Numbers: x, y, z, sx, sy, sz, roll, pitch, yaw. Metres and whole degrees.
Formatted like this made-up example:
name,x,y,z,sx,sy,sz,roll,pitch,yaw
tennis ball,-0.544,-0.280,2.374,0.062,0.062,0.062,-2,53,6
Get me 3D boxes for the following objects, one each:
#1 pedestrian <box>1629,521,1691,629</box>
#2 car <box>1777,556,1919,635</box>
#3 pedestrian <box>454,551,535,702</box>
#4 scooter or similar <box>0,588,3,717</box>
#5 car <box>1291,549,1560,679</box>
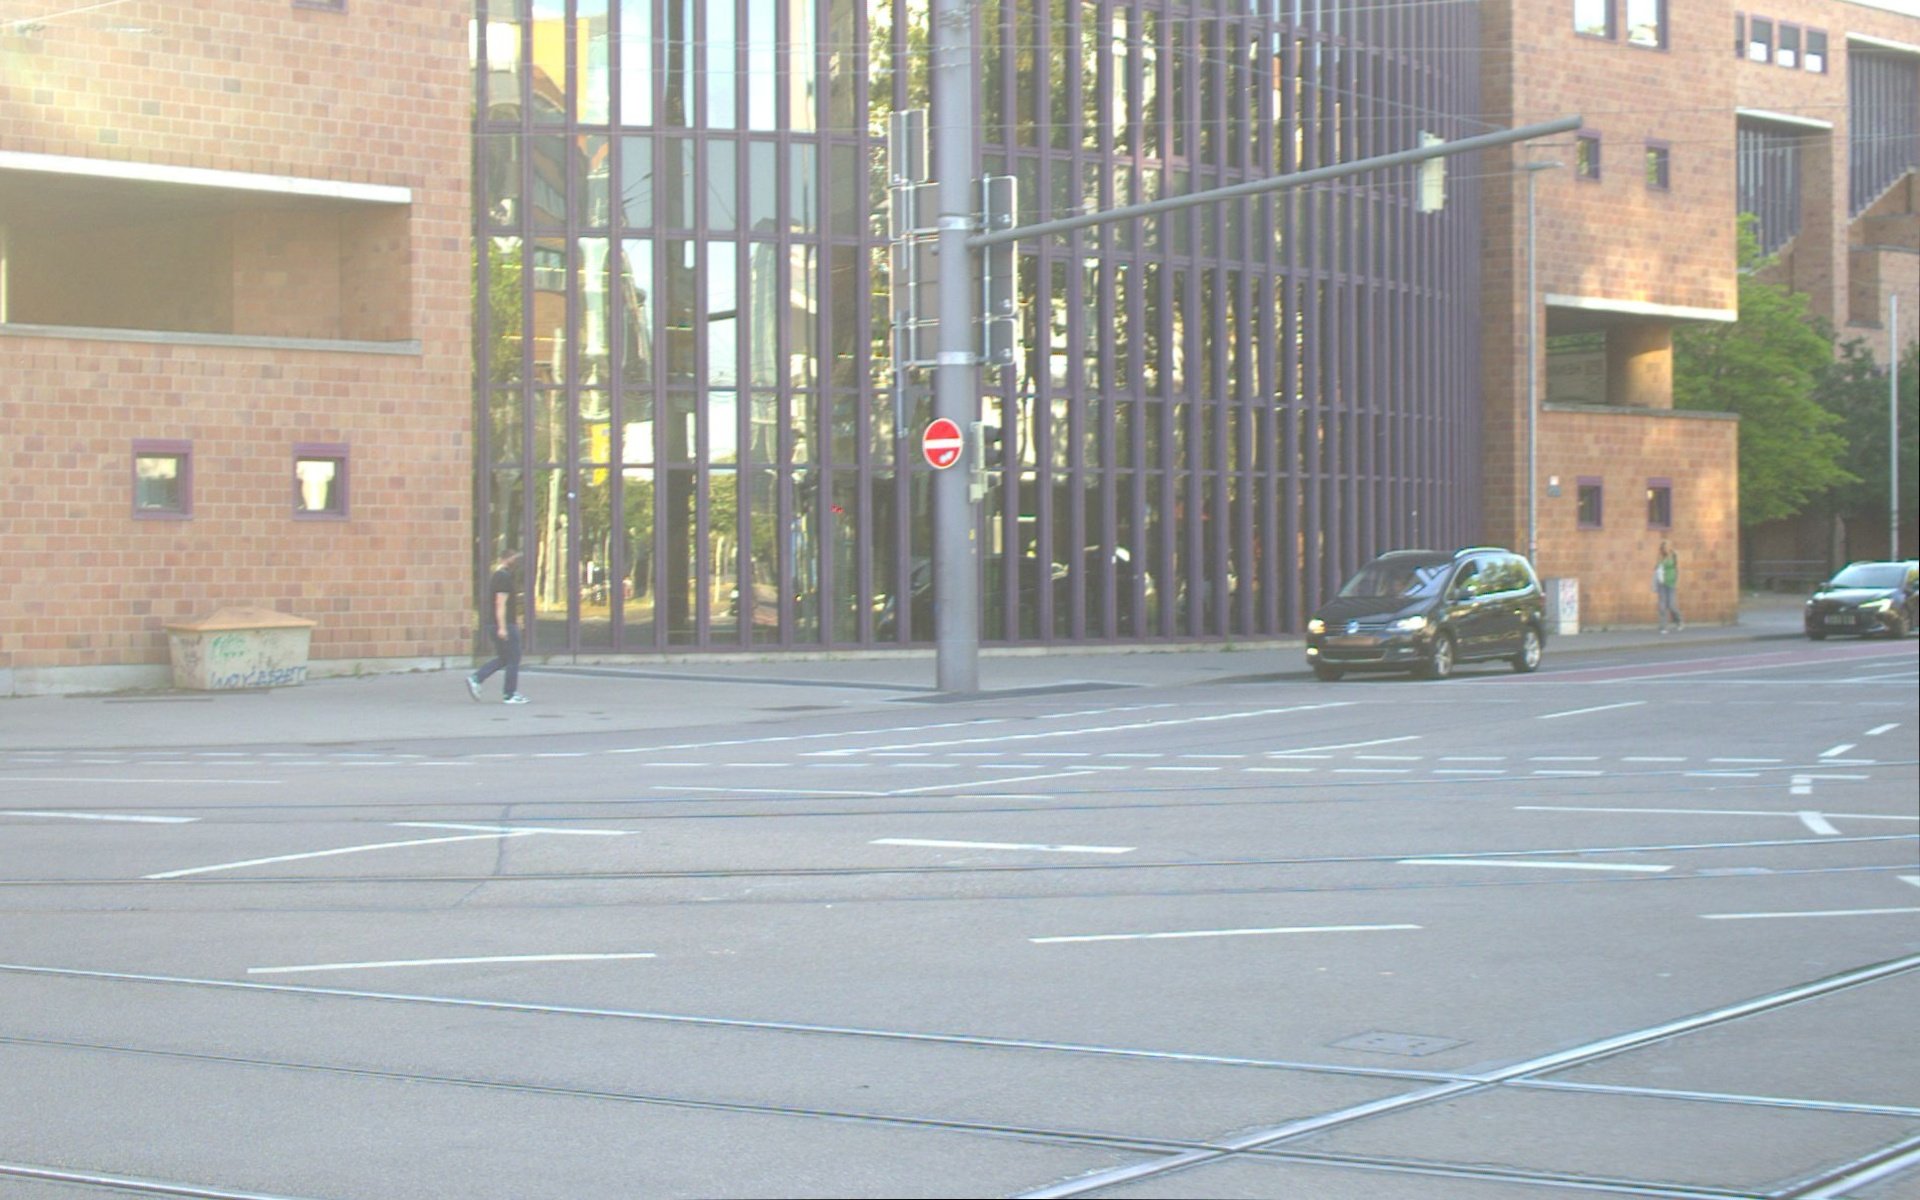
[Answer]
name,x,y,z,sx,sy,sz,roll,pitch,yaw
pedestrian,13.132,-0.476,64.487,0.755,2.007,0.900,-1,1,-23
car,17.021,-0.103,62.930,3.988,1.371,1.921,-1,1,-37
pedestrian,-5.381,0.296,39.700,0.821,1.710,0.664,-1,1,-16
scooter or similar,-10.418,0.543,35.135,1.130,1.313,0.528,0,1,23
car,6.368,0.163,46.616,1.837,1.649,4.492,-1,0,33
